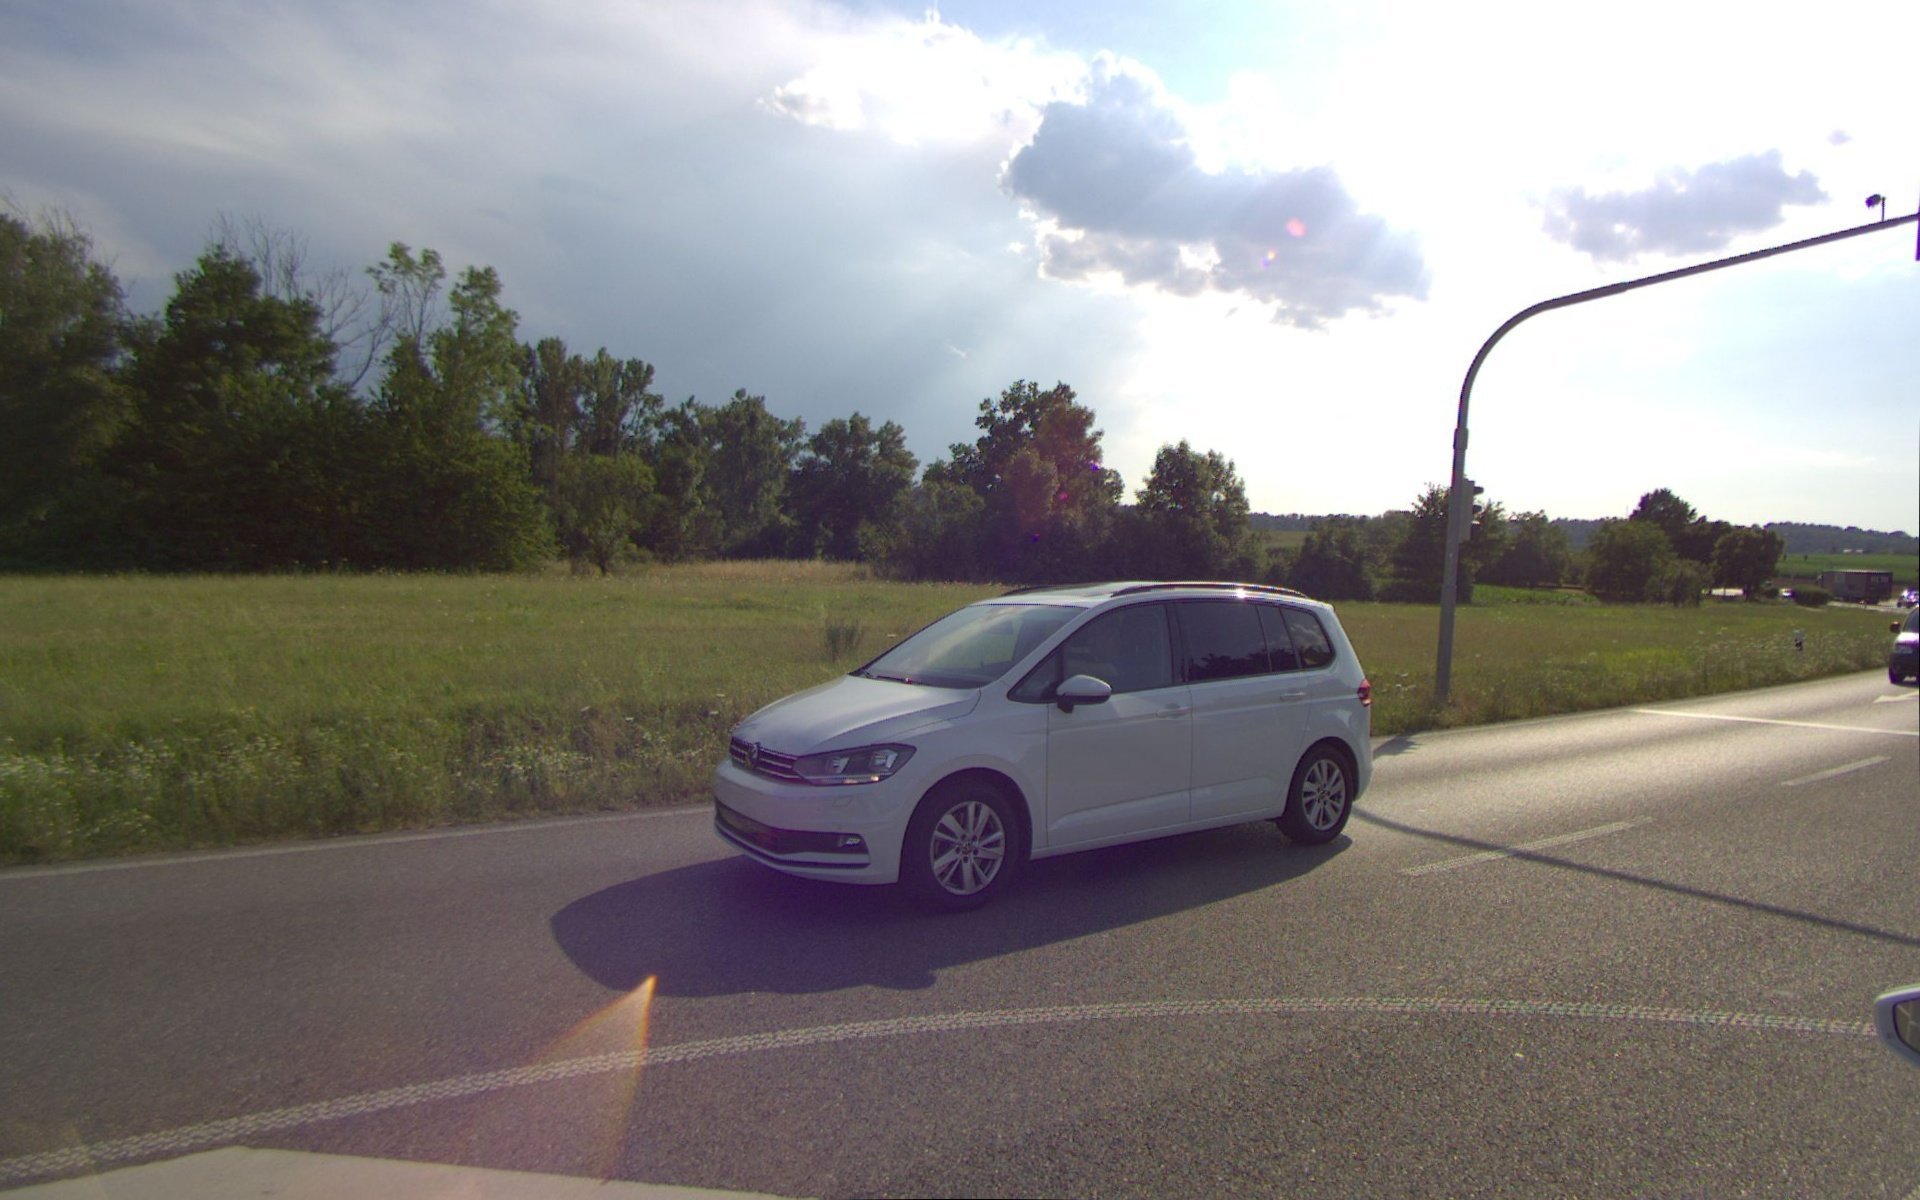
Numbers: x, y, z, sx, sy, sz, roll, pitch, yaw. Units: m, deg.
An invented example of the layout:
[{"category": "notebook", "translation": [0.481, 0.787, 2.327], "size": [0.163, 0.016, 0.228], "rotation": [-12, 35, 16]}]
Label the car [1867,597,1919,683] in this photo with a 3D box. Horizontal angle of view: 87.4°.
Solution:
[{"category": "car", "translation": [21.746, 0.844, 22.170], "size": [4.283, 1.799, 1.866], "rotation": [0, 0, -38]}]

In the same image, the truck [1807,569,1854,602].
[{"category": "truck", "translation": [121.070, -1.988, 139.791], "size": [3.323, 4.409, 5.699], "rotation": [3, 2, 25]}]

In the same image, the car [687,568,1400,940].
[{"category": "car", "translation": [0.679, 0.670, 6.328], "size": [4.285, 1.607, 1.869], "rotation": [0, 0, -34]}]

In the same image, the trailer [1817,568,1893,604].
[{"category": "trailer", "translation": [117.536, -1.856, 132.206], "size": [3.323, 4.409, 14.278], "rotation": [3, 2, 25]}]

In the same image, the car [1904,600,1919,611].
[{"category": "car", "translation": [109.816, 0.658, 115.071], "size": [1.744, 1.222, 3.418], "rotation": [3, 2, 31]}]
